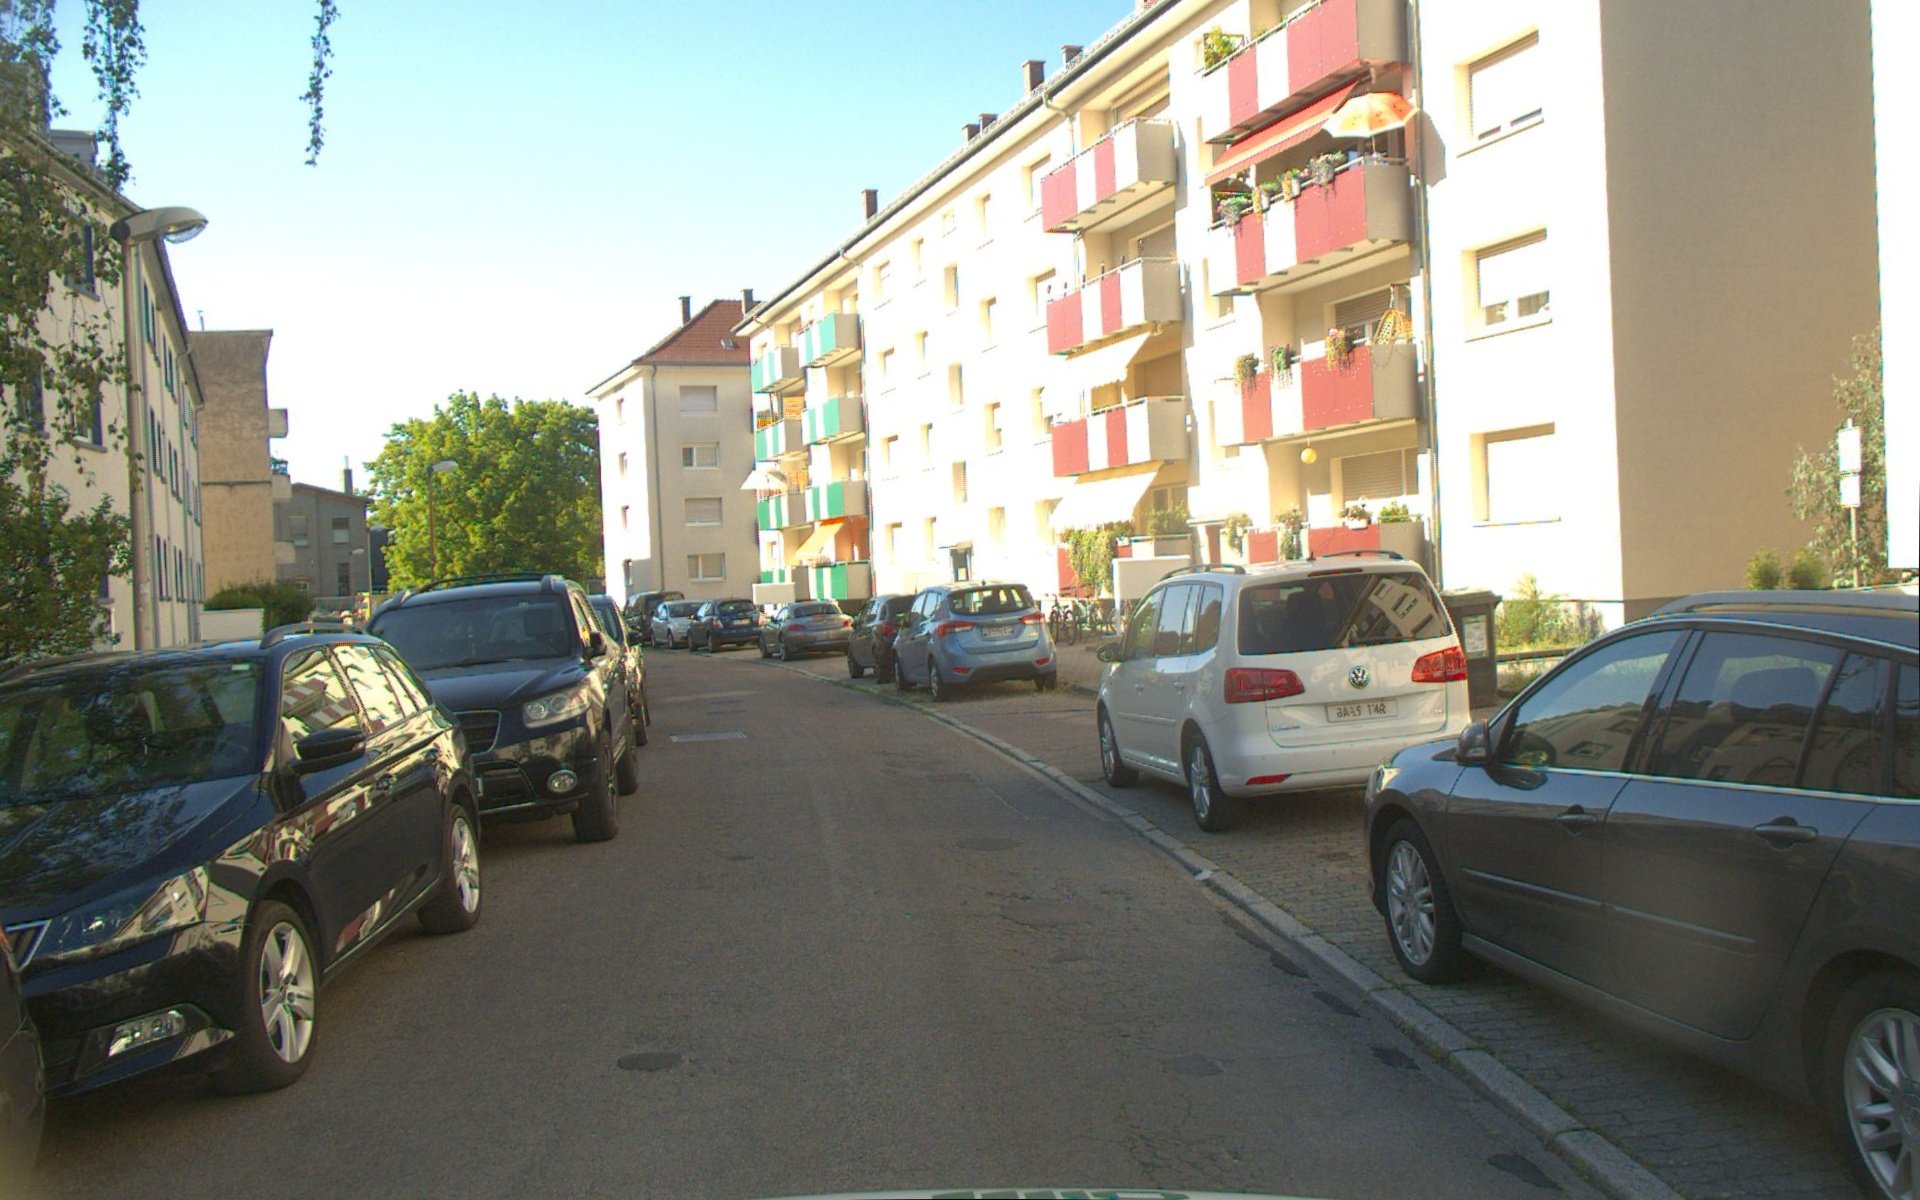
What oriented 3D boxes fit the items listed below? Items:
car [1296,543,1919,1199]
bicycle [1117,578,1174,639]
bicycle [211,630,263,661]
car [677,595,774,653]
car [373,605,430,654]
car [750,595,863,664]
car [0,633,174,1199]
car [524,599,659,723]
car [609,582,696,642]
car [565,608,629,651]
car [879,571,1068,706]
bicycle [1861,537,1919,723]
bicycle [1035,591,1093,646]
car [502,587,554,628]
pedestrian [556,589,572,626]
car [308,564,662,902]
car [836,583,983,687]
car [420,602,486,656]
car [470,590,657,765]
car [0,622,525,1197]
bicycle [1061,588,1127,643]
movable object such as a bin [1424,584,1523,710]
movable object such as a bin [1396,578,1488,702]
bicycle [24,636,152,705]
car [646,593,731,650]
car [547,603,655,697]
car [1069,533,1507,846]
[{"bbox_3d":[2.709,0.612,5.120,1.663,1.456,4.678,-6,1,-9],"label":"car"},{"bbox_3d":[3.768,0.170,33.738,0.401,1.170,1.753,-5,1,-17],"label":"bicycle"},{"bbox_3d":[-26.309,1.657,60.186,1.625,0.952,0.544,-6,1,-23],"label":"bicycle"},{"bbox_3d":[-6.901,0.699,48.357,1.714,1.456,4.327,-6,1,-22],"label":"car"},{"bbox_3d":[-26.310,1.400,77.863,1.969,2.048,4.420,-6,1,-24],"label":"car"},{"bbox_3d":[-3.733,0.676,39.536,1.661,1.386,4.217,-6,2,-18],"label":"car"},{"bbox_3d":[-2.537,0.928,1.564,1.646,1.467,4.277,-7,1,-3],"label":"car"},{"bbox_3d":[-5.468,0.817,24.366,1.666,1.469,4.005,-5,2,-14],"label":"car"},{"bbox_3d":[-10.703,0.446,57.376,1.873,1.887,4.309,-4,0,-25],"label":"car"},{"bbox_3d":[-14.730,1.182,67.055,1.695,1.387,4.026,-6,4,-23],"label":"car"},{"bbox_3d":[0.106,0.490,24.492,1.736,1.663,4.027,-6,2,-14],"label":"car"},{"bbox_3d":[6.658,0.201,10.957,0.504,1.223,1.763,-5,1,7],"label":"bicycle"},{"bbox_3d":[2.081,0.372,33.370,0.490,1.037,1.833,-5,1,-17],"label":"bicycle"},{"bbox_3d":[-21.399,0.392,81.786,1.743,1.769,4.063,-6,1,-24],"label":"car"},{"bbox_3d":[-20.458,0.395,85.444,0.643,1.846,0.612,-5,1,-14],"label":"pedestrian"},{"bbox_3d":[-3.087,0.740,11.591,1.527,1.743,4.331,-7,1,-7],"label":"car"},{"bbox_3d":[-0.969,0.571,29.403,1.707,1.534,3.871,-7,2,-14],"label":"car"},{"bbox_3d":[-19.701,1.135,64.173,1.872,1.887,4.163,-4,0,-24],"label":"car"},{"bbox_3d":[-4.289,0.751,18.421,1.664,1.587,4.147,-5,1,-10],"label":"car"},{"bbox_3d":[-2.954,0.924,6.469,1.525,1.467,3.965,-7,0,-3],"label":"car"},{"bbox_3d":[2.706,0.299,33.502,0.608,0.994,1.887,-7,3,-16],"label":"bicycle"},{"bbox_3d":[4.699,0.427,15.176,0.572,1.074,0.640,-7,-1,-3],"label":"movable object such as a bin"},{"bbox_3d":[4.639,0.369,15.946,0.572,1.114,0.682,-5,1,-3],"label":"movable object such as a bin"},{"bbox_3d":[-14.601,1.174,27.725,1.785,1.097,0.567,-1,1,-6],"label":"bicycle"},{"bbox_3d":[-8.690,0.670,52.723,1.660,1.615,3.983,-5,1,-23],"label":"car"},{"bbox_3d":[-6.515,0.842,29.804,1.666,1.413,4.141,-5,1,-14],"label":"car"},{"bbox_3d":[2.095,0.528,11.933,1.663,1.684,4.382,-5,0,-8],"label":"car"}]
